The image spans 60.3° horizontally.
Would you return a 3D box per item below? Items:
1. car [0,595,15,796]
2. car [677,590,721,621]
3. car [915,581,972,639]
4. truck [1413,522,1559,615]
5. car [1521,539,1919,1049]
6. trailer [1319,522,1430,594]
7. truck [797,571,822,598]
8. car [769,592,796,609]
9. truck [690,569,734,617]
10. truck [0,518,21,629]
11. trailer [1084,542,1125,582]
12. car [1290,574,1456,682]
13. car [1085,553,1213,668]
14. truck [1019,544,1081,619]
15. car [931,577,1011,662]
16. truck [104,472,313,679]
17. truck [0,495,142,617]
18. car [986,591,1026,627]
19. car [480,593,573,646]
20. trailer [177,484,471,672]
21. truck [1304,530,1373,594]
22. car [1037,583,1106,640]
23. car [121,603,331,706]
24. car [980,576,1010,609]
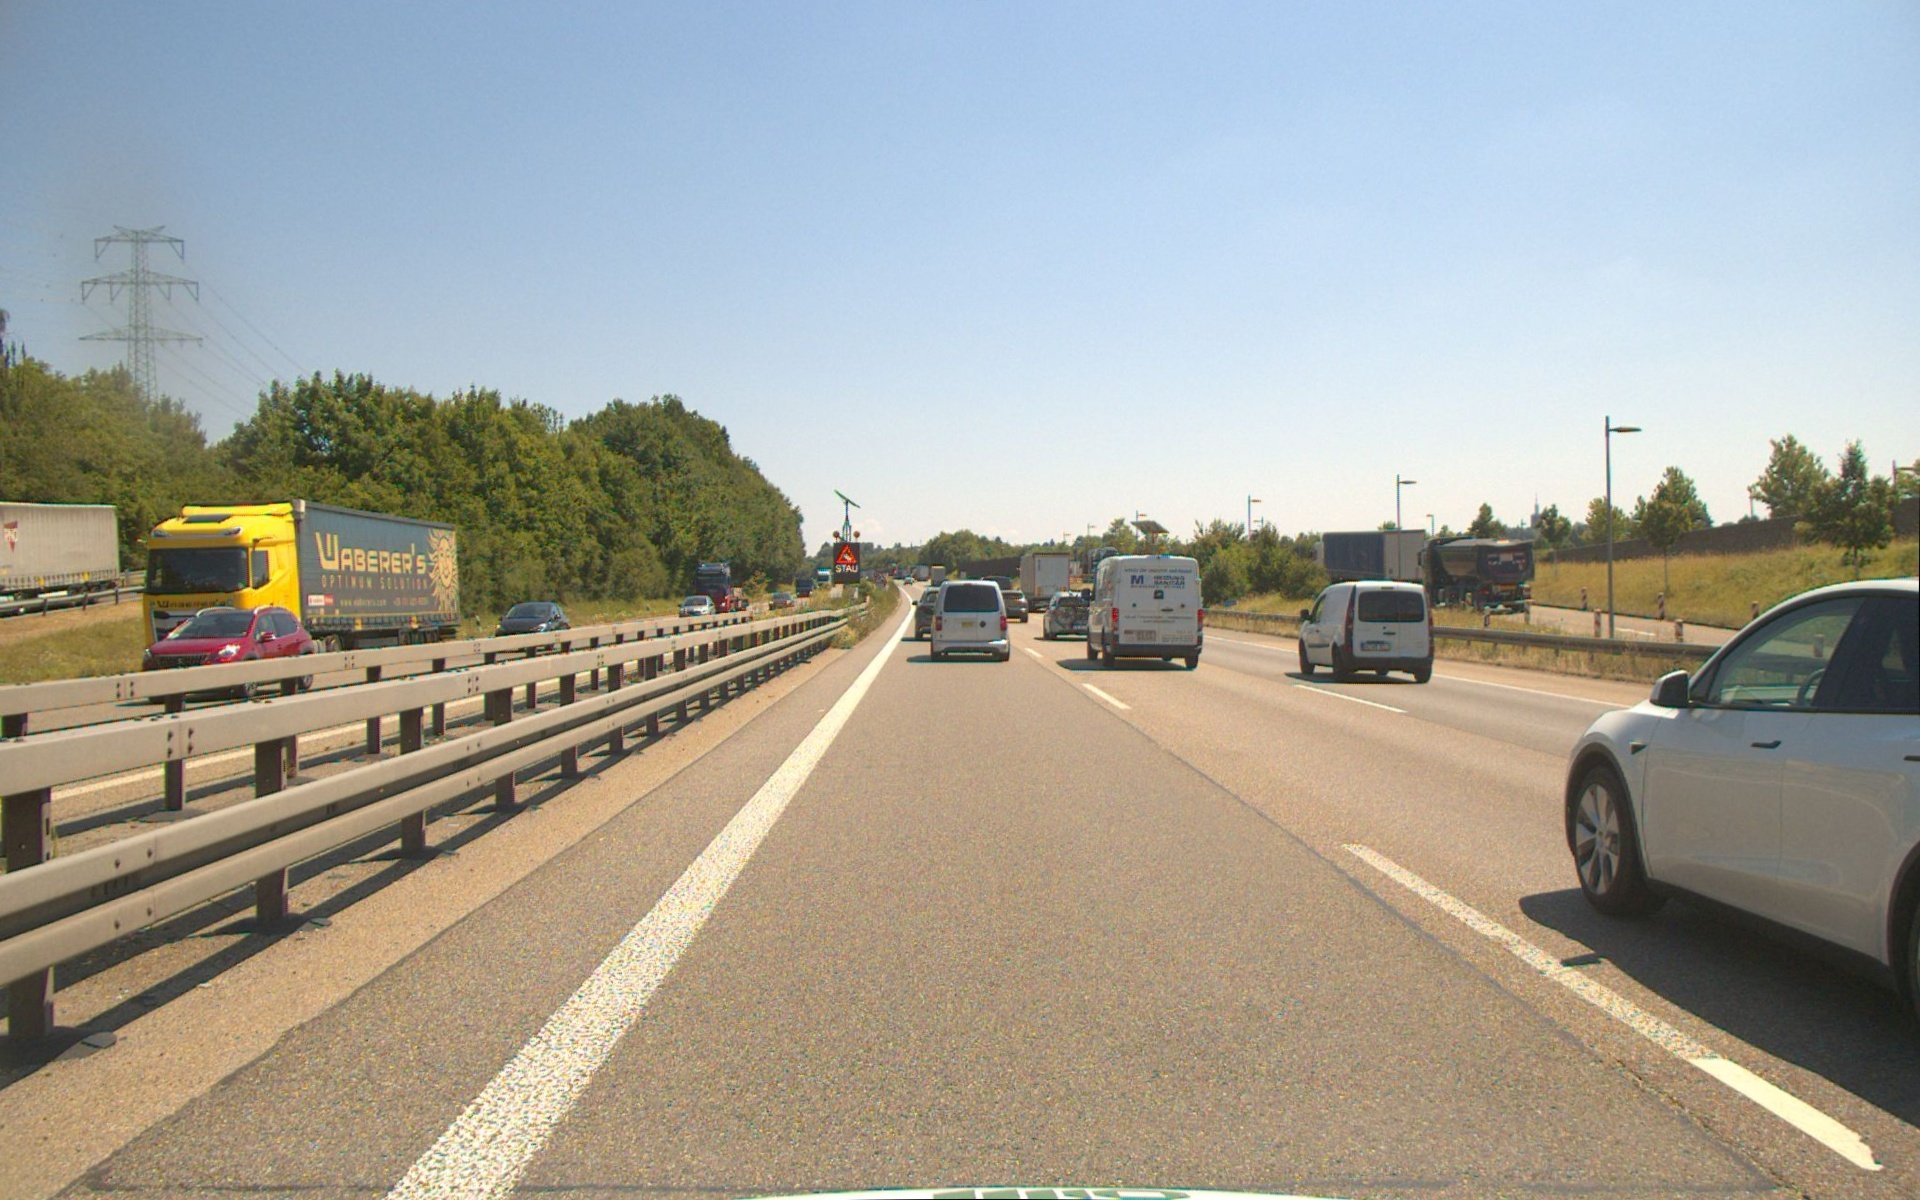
[{"bbox_3d":[-8.751,0.806,11.793,1.746,1.653,3.999,-1,0,-1],"label":"car"},{"bbox_3d":[-14.129,0.291,89.646,1.746,1.557,3.882,-3,0,-1],"label":"car"},{"bbox_3d":[-0.496,0.304,52.564,1.709,1.731,4.088,-1,0,0],"label":"car"},{"bbox_3d":[25.322,-1.422,80.475,3.709,4.154,12.523,1,0,3],"label":"truck"},{"bbox_3d":[4.083,0.645,6.250,1.911,1.665,5.599,1,0,-1],"label":"car"},{"bbox_3d":[25.788,-2.467,103.914,2.991,4.154,14.253,1,0,-2],"label":"trailer"},{"bbox_3d":[-22.863,-2.319,251.280,2.935,3.868,10.786,-1,0,-1],"label":"truck"},{"bbox_3d":[-15.064,-0.001,140.613,1.733,1.357,4.920,-2,0,-1],"label":"car"},{"bbox_3d":[-19.146,-0.523,127.947,2.935,3.621,3.117,-1,0,-2],"label":"truck"},{"bbox_3d":[-35.723,-0.909,58.550,2.890,3.963,4.316,-1,2,-9],"label":"truck"},{"bbox_3d":[16.962,-4.413,195.673,2.553,4.332,18.415,1,0,-2],"label":"trailer"},{"bbox_3d":[7.706,0.483,31.273,1.911,1.870,4.176,-1,0,-2],"label":"car"},{"bbox_3d":[3.984,0.195,35.843,2.137,2.293,5.363,0,0,0],"label":"car"},{"bbox_3d":[6.341,-1.278,119.105,3.711,5.087,12.517,1,0,0],"label":"truck"},{"bbox_3d":[0.239,0.415,37.945,1.709,1.795,4.088,-1,0,0],"label":"car"},{"bbox_3d":[-16.925,-0.537,37.492,3.110,4.417,3.512,-1,0,-2],"label":"truck"},{"bbox_3d":[-37.076,-1.868,66.801,2.941,4.416,14.519,-1,3,-9],"label":"truck"},{"bbox_3d":[2.259,0.416,82.042,1.863,1.701,4.088,-1,0,0],"label":"car"},{"bbox_3d":[-13.418,0.567,51.397,1.677,1.494,4.147,-3,0,1],"label":"car"},{"bbox_3d":[-17.139,-0.556,46.165,3.110,4.417,13.809,-1,0,-1],"label":"trailer"},{"bbox_3d":[25.544,-2.485,111.769,2.991,4.154,6.396,1,0,-2],"label":"truck"},{"bbox_3d":[3.616,0.346,54.216,1.935,1.763,4.088,-1,0,0],"label":"car"},{"bbox_3d":[-12.802,0.890,29.169,1.746,1.557,4.383,-3,0,-1],"label":"car"},{"bbox_3d":[2.078,-0.454,99.672,1.640,1.925,4.088,-1,0,0],"label":"car"}]
